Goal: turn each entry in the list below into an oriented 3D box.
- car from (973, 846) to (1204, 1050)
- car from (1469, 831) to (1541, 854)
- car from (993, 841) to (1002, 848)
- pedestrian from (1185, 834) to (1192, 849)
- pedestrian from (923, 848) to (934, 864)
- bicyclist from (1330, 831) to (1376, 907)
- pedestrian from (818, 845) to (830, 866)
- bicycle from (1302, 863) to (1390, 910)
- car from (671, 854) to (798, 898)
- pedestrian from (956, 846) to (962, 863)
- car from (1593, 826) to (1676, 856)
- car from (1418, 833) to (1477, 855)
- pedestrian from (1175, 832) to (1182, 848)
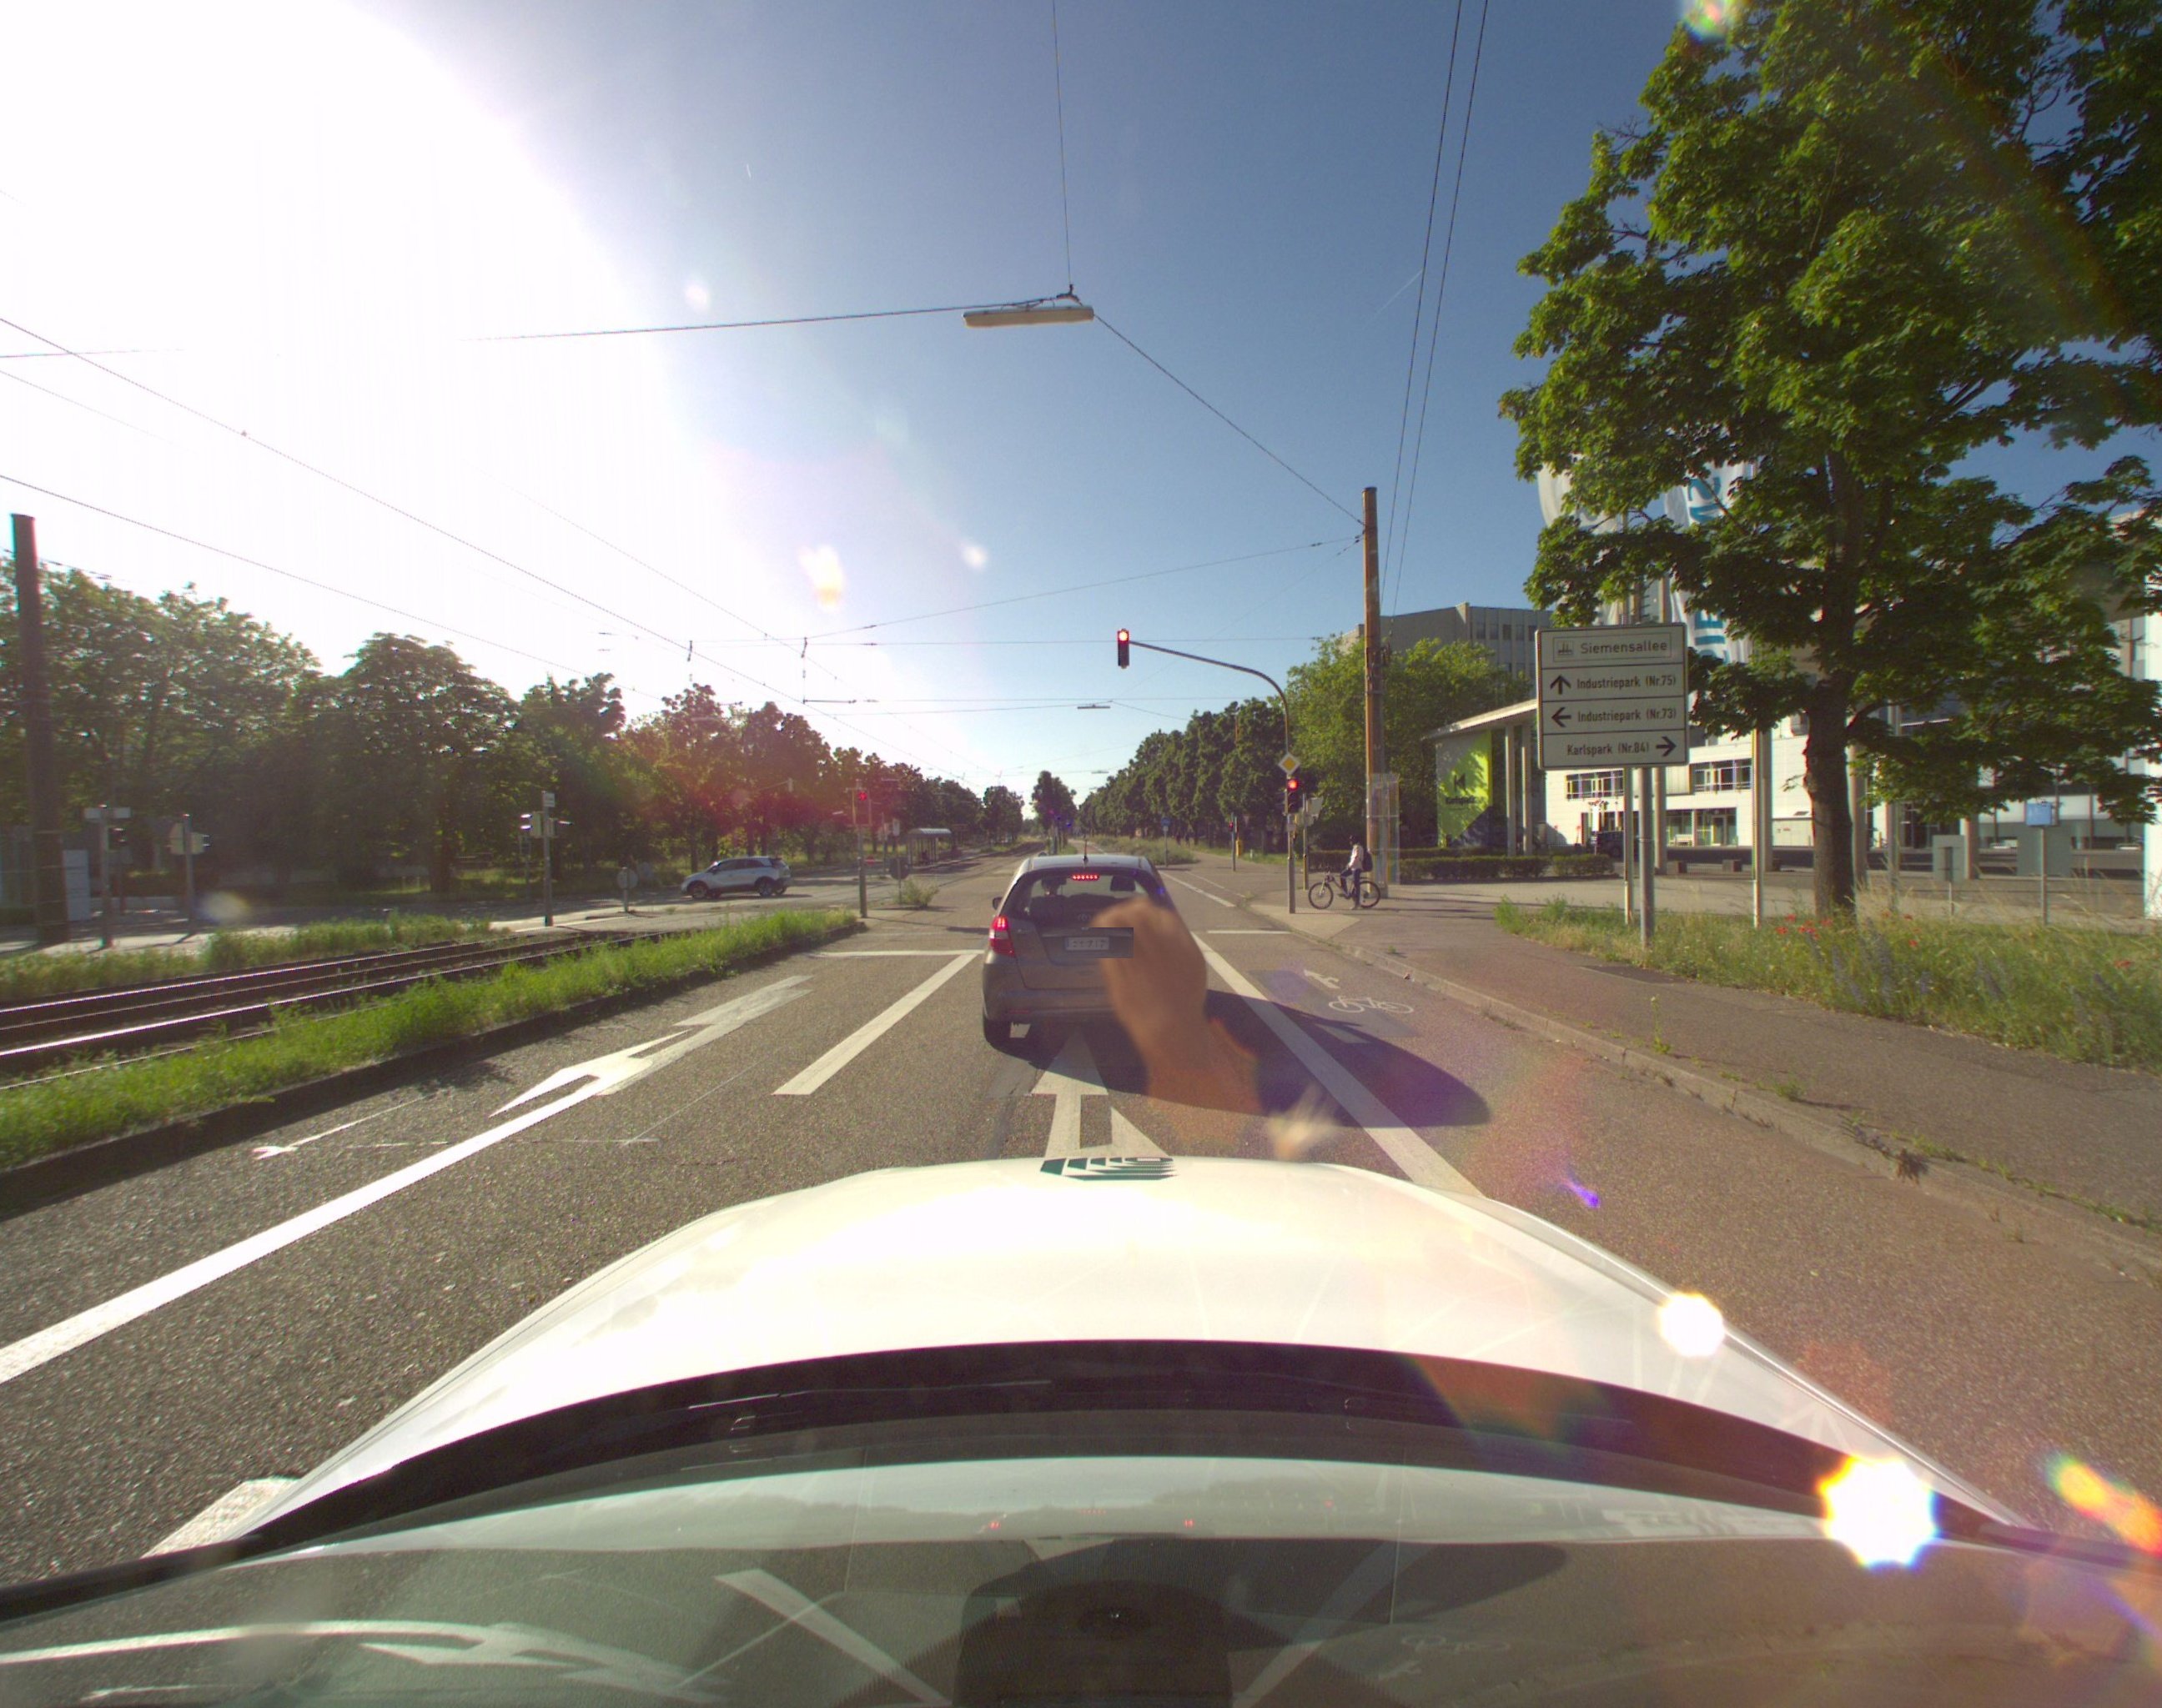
[{"bbox_3d":[0.142,0.694,8.049,1.700,1.509,4.003,-1,0,2],"label":"car"},{"bbox_3d":[31.226,-0.839,59.961,4.538,1.629,1.869,-1,0,-11],"label":"car"},{"bbox_3d":[-20.422,-2.315,198.336,1.761,1.738,3.999,-1,0,0],"label":"car"},{"bbox_3d":[11.021,-1.277,83.621,0.676,1.610,0.720,0,0,-1],"label":"pedestrian"},{"bbox_3d":[-12.445,0.150,66.379,0.718,1.246,0.710,-2,0,0],"label":"pedestrian"},{"bbox_3d":[6.536,0.358,19.644,0.904,1.745,0.767,-3,-1,12],"label":"bicyclist"},{"bbox_3d":[-24.560,0.129,77.875,0.837,2.013,0.863,-1,0,0],"label":"pedestrian"},{"bbox_3d":[6.380,0.772,19.671,1.907,0.998,0.767,-3,-1,12],"label":"bicycle"},{"bbox_3d":[-13.695,0.854,32.374,4.232,1.606,1.854,-1,0,-4],"label":"car"},{"bbox_3d":[-12.154,0.017,80.996,0.502,1.675,0.386,-1,0,-10],"label":"pedestrian"},{"bbox_3d":[33.747,-0.784,49.703,3.984,1.720,1.895,-1,0,-8],"label":"car"},{"bbox_3d":[30.133,-0.813,67.036,3.989,1.757,1.993,-1,0,-11],"label":"car"},{"bbox_3d":[10.025,-1.408,83.664,0.565,1.596,0.665,0,0,-2],"label":"pedestrian"}]
